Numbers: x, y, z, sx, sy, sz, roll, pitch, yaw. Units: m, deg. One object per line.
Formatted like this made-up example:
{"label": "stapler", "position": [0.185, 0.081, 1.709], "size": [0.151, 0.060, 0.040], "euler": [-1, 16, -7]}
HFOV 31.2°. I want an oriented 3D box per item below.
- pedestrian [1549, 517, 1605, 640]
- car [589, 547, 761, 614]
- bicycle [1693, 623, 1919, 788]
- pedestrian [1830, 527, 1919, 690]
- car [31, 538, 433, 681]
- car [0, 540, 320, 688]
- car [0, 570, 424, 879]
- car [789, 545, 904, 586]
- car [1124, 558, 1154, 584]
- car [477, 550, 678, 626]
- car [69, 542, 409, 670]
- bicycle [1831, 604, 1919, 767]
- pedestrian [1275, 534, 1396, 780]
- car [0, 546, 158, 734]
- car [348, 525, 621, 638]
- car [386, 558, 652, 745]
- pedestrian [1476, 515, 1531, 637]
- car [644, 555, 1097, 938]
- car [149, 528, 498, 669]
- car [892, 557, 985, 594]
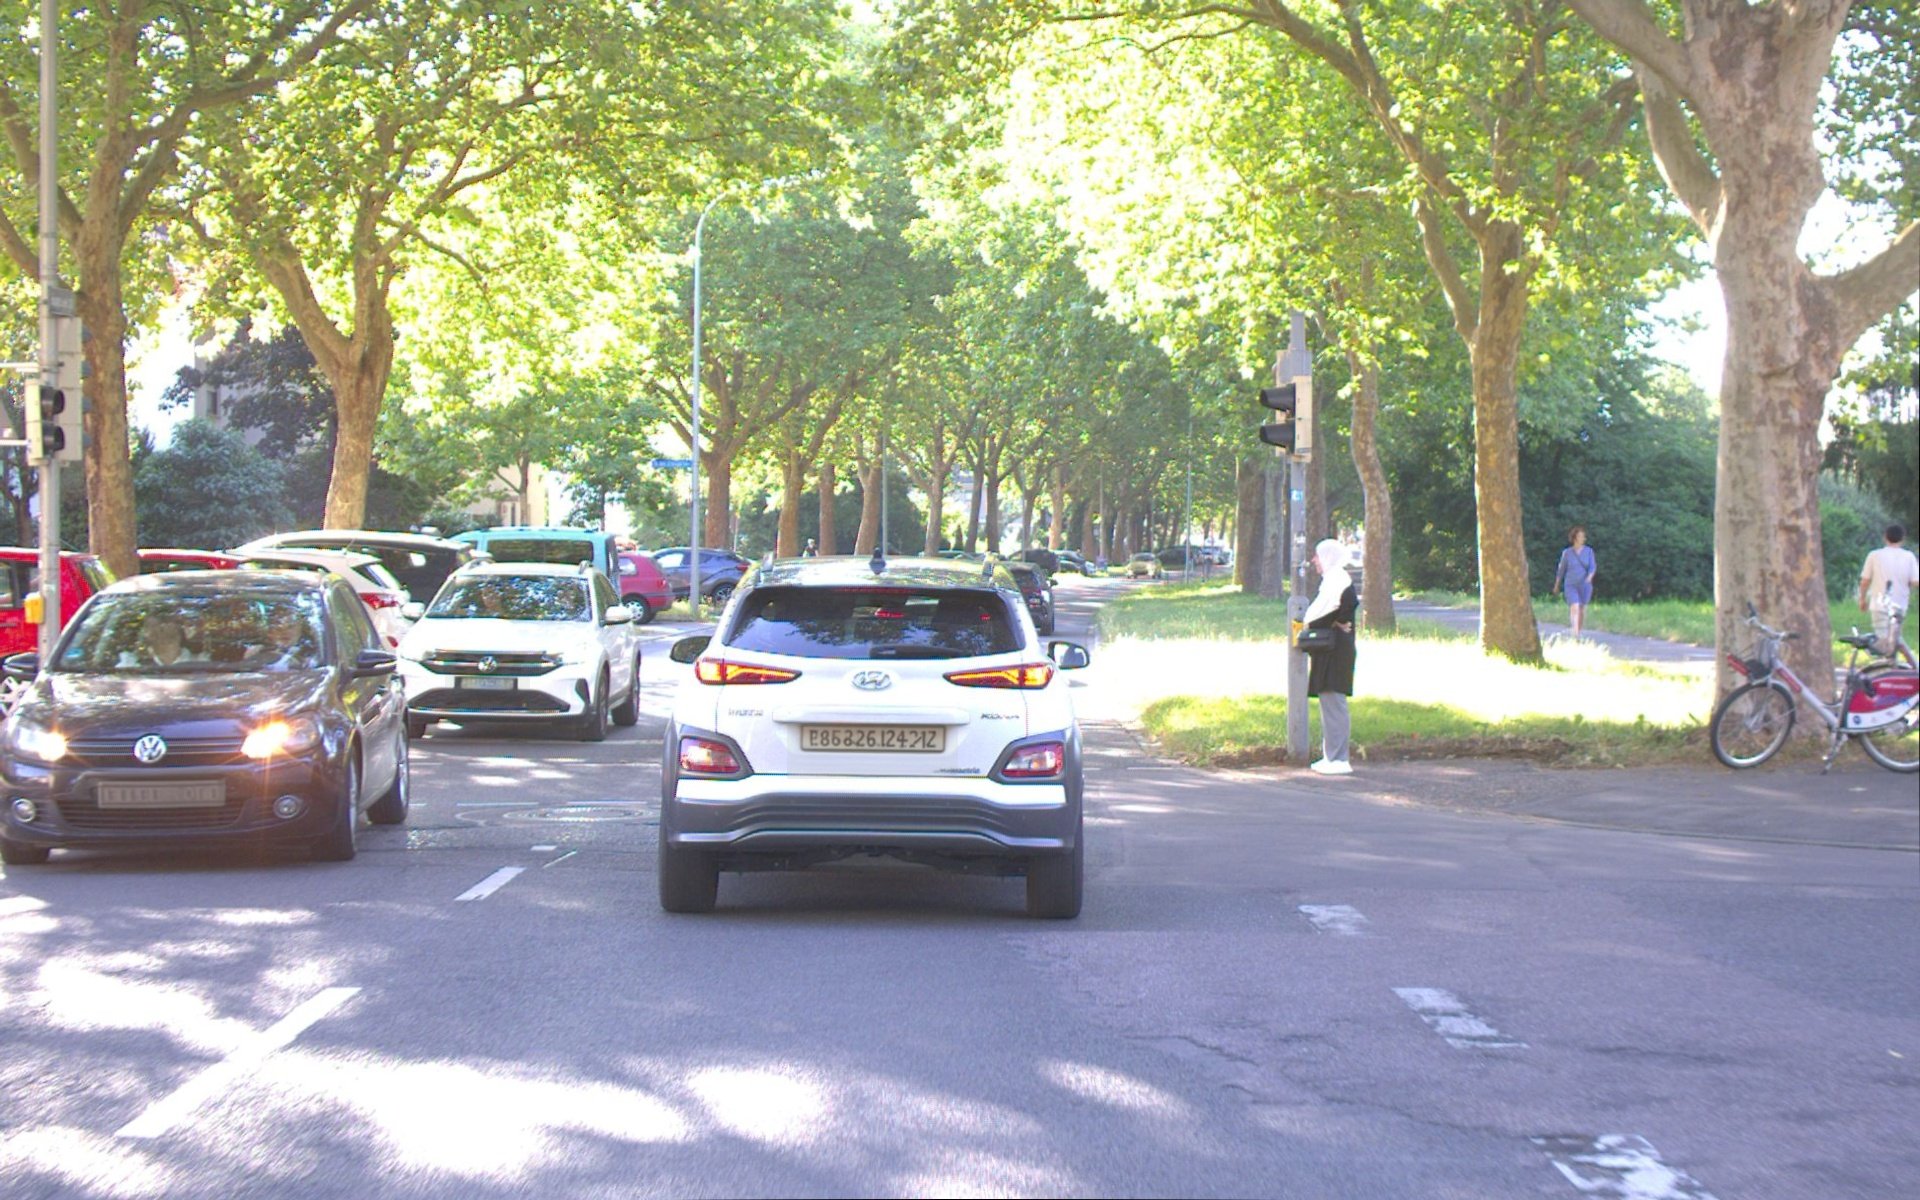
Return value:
{"label": "pedestrian", "position": [9.343, -0.334, 52.083], "size": [0.754, 1.841, 0.802], "euler": [0, 1, 4]}
{"label": "car", "position": [-6.834, -0.468, 82.789], "size": [3.988, 1.513, 1.817], "euler": [1, 1, 0]}
{"label": "bicycle", "position": [5.830, 0.694, 23.135], "size": [1.718, 1.031, 0.445], "euler": [1, 3, 36]}
{"label": "pedestrian", "position": [9.441, 0.078, 35.293], "size": [0.779, 1.644, 0.939], "euler": [0, 1, 0]}
{"label": "car", "position": [-8.212, 0.095, 39.049], "size": [4.161, 1.496, 1.876], "euler": [1, 1, -1]}
{"label": "car", "position": [-8.680, 0.134, 36.771], "size": [3.339, 1.475, 1.695], "euler": [1, 1, -1]}
{"label": "car", "position": [-3.921, 0.569, 18.293], "size": [1.726, 1.459, 4.069], "euler": [0, 1, -3]}
{"label": "car", "position": [-3.984, -1.219, 121.077], "size": [3.826, 1.312, 1.790], "euler": [2, 1, 4]}
{"label": "car", "position": [10.338, -1.668, 198.565], "size": [1.689, 1.460, 3.694], "euler": [1, 0, 3]}
{"label": "car", "position": [-7.642, -0.248, 68.940], "size": [3.871, 1.513, 1.665], "euler": [0, 1, 0]}
{"label": "car", "position": [-8.746, 0.053, 41.912], "size": [3.758, 1.478, 1.754], "euler": [1, 1, 1]}
{"label": "bicycle", "position": [6.877, 0.615, 24.070], "size": [0.445, 1.079, 2.009], "euler": [-2, 3, -20]}
{"label": "pedestrian", "position": [2.695, 0.395, 24.707], "size": [0.634, 1.713, 0.826], "euler": [-2, 1, -7]}
{"label": "car", "position": [-8.905, 0.297, 29.206], "size": [3.764, 1.529, 1.832], "euler": [1, 1, -2]}
{"label": "car", "position": [-8.104, -0.334, 58.905], "size": [4.385, 1.818, 1.996], "euler": [1, 1, 0]}
{"label": "car", "position": [-3.768, 0.393, 29.983], "size": [1.716, 1.496, 4.094], "euler": [1, 1, 1]}
{"label": "pedestrian", "position": [8.259, -0.365, 52.253], "size": [0.761, 1.839, 0.787], "euler": [0, 1, 4]}
{"label": "car", "position": [-0.426, 0.584, 16.005], "size": [1.835, 1.550, 4.000], "euler": [0, 0, -2]}
{"label": "car", "position": [-8.098, -0.031, 43.995], "size": [4.091, 1.710, 1.831], "euler": [1, 1, 1]}
{"label": "car", "position": [-0.970, -1.137, 158.376], "size": [4.183, 1.579, 2.000], "euler": [1, 1, 3]}
